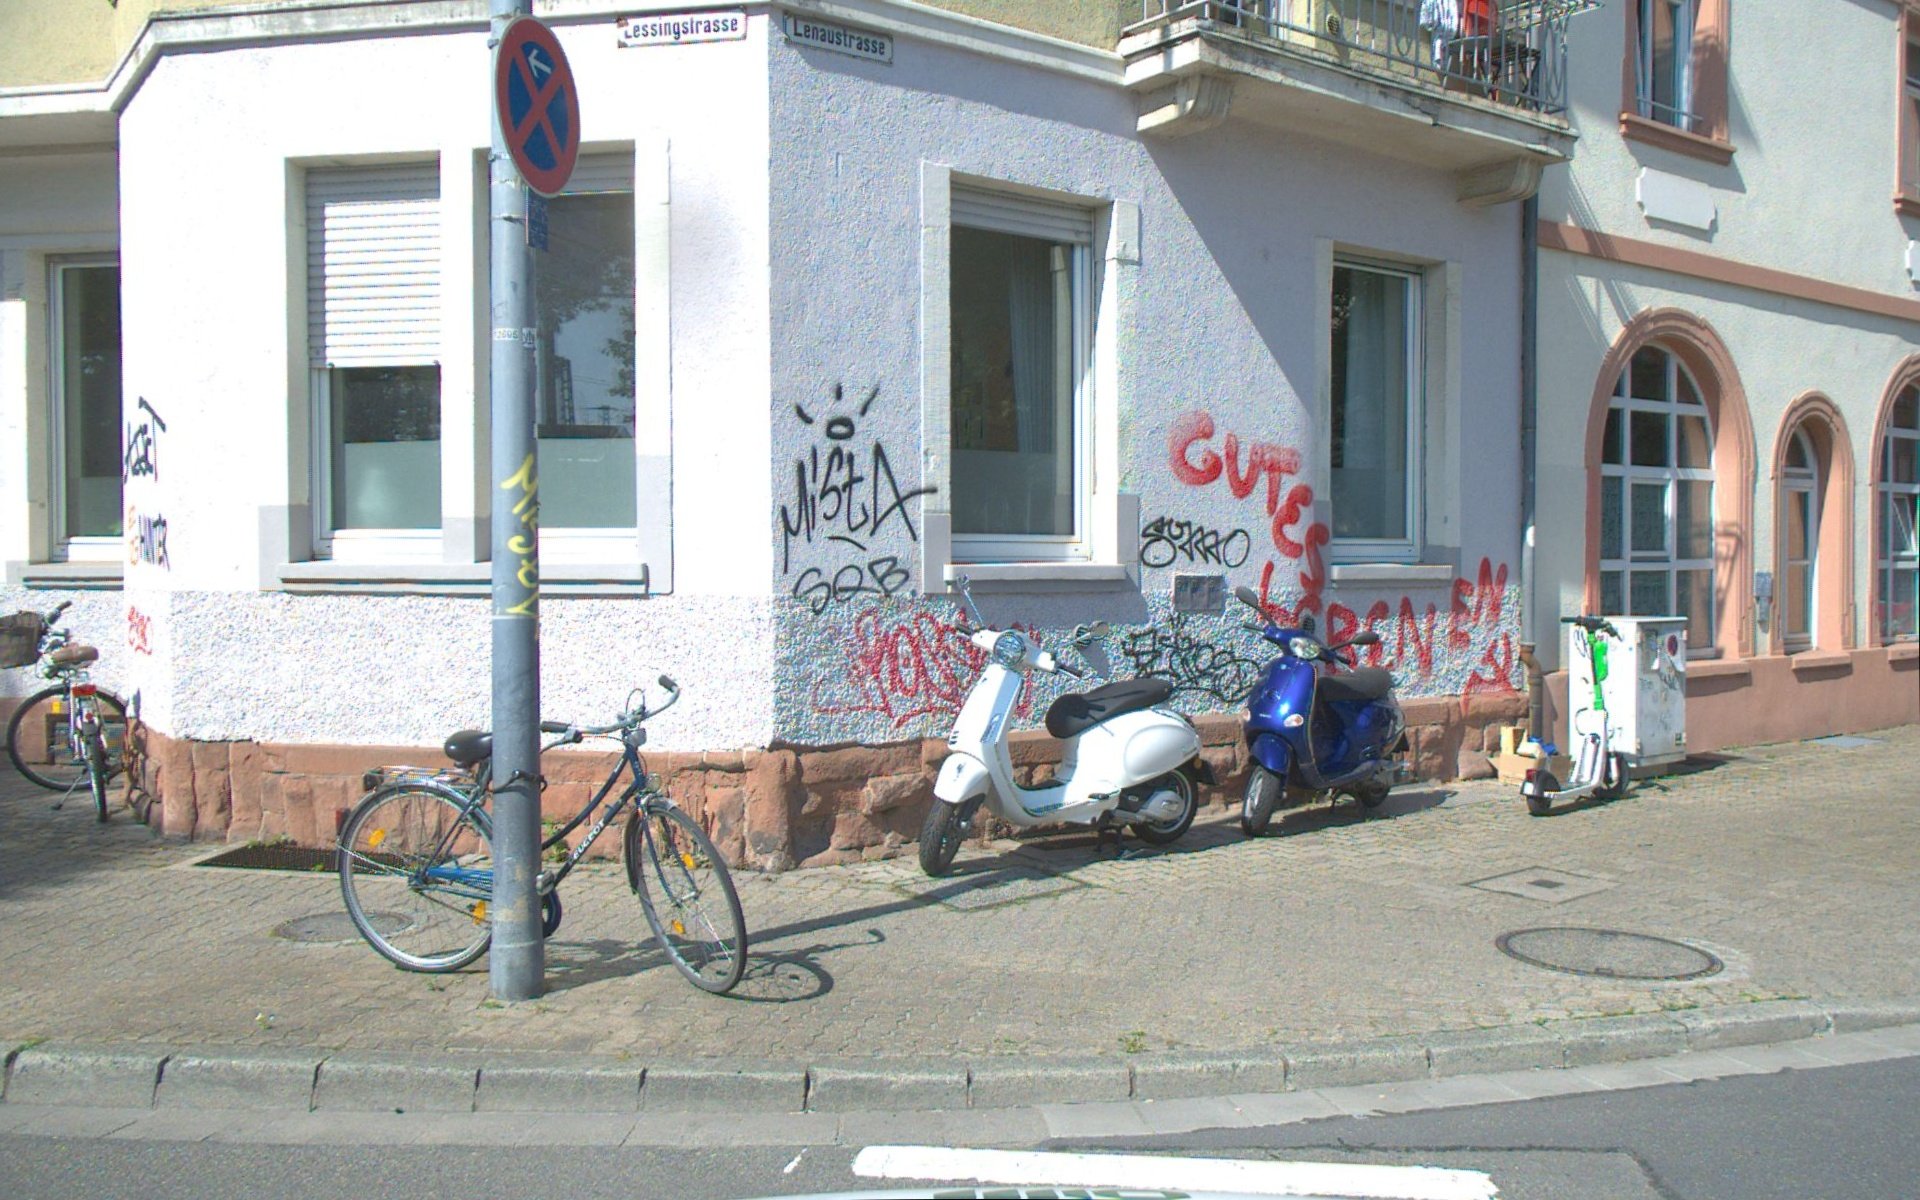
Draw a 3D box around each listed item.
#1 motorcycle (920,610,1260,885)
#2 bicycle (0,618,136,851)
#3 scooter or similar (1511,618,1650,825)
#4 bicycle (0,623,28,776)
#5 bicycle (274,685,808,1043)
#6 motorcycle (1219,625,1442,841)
[{"bbox_3d":[0.670,0.679,8.200,1.741,1.170,0.469,-2,3,-31],"label":"motorcycle"},{"bbox_3d":[-5.056,0.688,9.220,0.532,1.064,1.805,-2,3,-36],"label":"bicycle"},{"bbox_3d":[3.842,0.710,10.196,0.270,1.147,1.439,2,3,42],"label":"scooter or similar"},{"bbox_3d":[-7.169,0.642,10.670,2.062,0.962,0.610,0,3,10],"label":"bicycle"},{"bbox_3d":[-1.424,0.875,5.737,1.692,1.106,0.579,0,1,7],"label":"bicycle"},{"bbox_3d":[2.151,0.727,9.525,1.435,1.113,0.423,-1,3,-38],"label":"motorcycle"}]
